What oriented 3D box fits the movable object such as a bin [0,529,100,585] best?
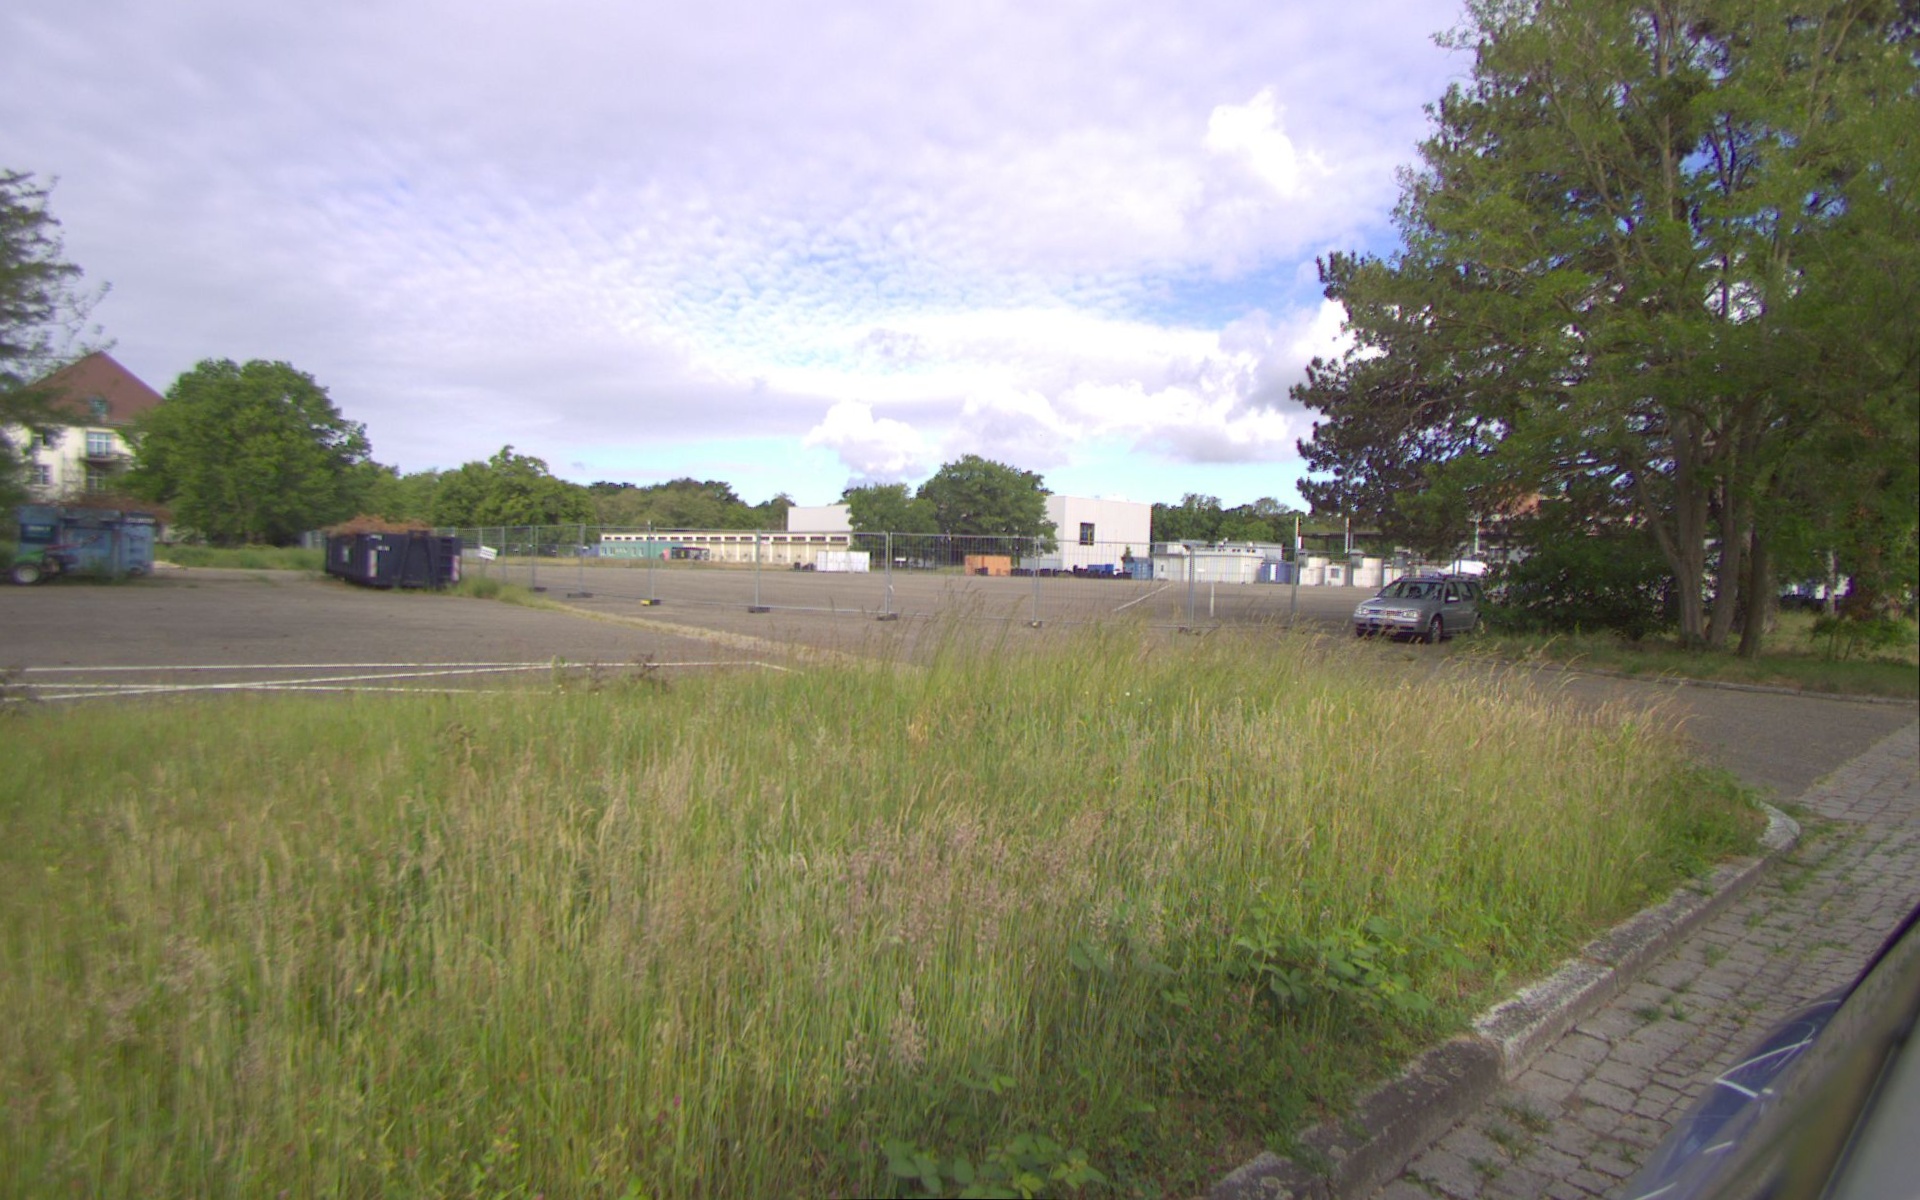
[{"bbox_3d":[-20.037,-0.933,21.604,2.499,1.097,1.064,1,2,-42],"label":"movable object such as a bin"}]

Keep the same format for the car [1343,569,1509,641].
[{"bbox_3d":[10.698,0.078,23.124,4.250,1.466,1.759,0,3,-40],"label":"car"}]
